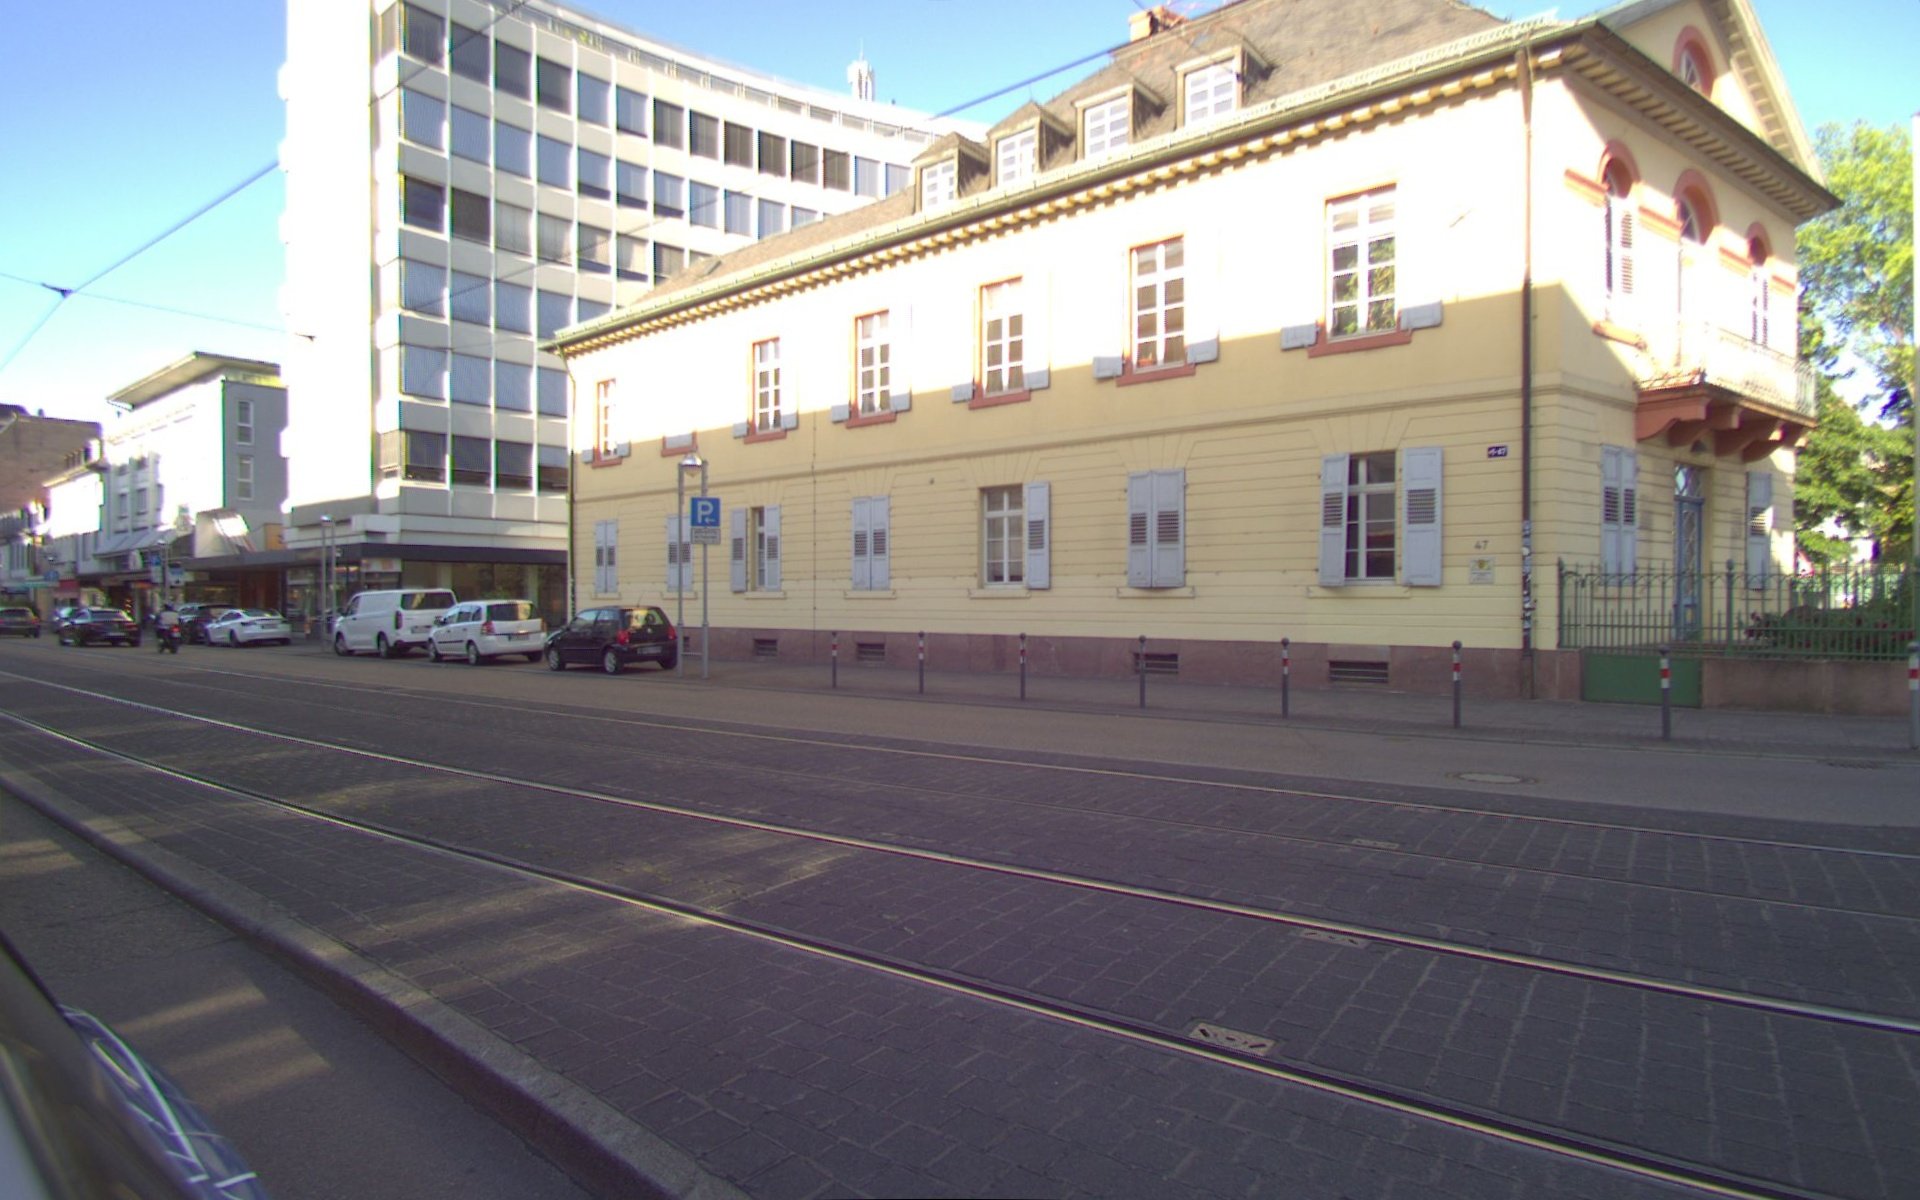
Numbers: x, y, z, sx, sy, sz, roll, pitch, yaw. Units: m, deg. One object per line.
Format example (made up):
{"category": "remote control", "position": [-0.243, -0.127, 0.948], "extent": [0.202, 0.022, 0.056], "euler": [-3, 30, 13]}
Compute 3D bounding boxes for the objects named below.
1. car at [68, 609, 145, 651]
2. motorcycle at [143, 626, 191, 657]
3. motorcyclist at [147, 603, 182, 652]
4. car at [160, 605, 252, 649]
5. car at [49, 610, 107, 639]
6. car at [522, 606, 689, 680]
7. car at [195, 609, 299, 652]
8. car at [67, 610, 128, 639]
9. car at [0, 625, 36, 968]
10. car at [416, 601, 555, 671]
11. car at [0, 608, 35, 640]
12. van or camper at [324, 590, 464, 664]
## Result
{"category": "car", "position": [-33.039, 1.137, 39.119], "extent": [4.670, 1.521, 1.757], "euler": [-1, -2, 43]}
{"category": "motorcycle", "position": [-25.856, 1.350, 32.983], "extent": [2.150, 0.933, 0.594], "euler": [0, 0, 34]}
{"category": "motorcyclist", "position": [-25.993, 0.879, 33.077], "extent": [0.882, 1.570, 0.647], "euler": [0, 0, 33]}
{"category": "car", "position": [-31.379, 1.068, 42.068], "extent": [4.275, 1.654, 1.908], "euler": [0, 2, 37]}
{"category": "car", "position": [-49.317, 1.345, 56.573], "extent": [3.829, 1.531, 1.764], "euler": [0, 0, 39]}
{"category": "car", "position": [-8.041, 0.891, 22.818], "extent": [3.958, 1.450, 1.759], "euler": [0, 2, 40]}
{"category": "car", "position": [-27.142, 1.110, 38.513], "extent": [4.284, 1.463, 1.909], "euler": [0, 2, 36]}
{"category": "car", "position": [-45.425, 1.276, 53.287], "extent": [3.592, 1.427, 1.765], "euler": [0, 0, 38]}
{"category": "car", "position": [-6.446, 0.828, 5.214], "extent": [4.770, 1.450, 1.845], "euler": [0, -1, 40]}
{"category": "car", "position": [-12.444, 0.869, 26.431], "extent": [4.175, 1.632, 1.758], "euler": [0, 2, 42]}
{"category": "car", "position": [-46.354, 1.165, 48.973], "extent": [3.855, 1.521, 1.759], "euler": [-1, -2, 39]}
{"category": "van or camper", "position": [-16.883, 0.738, 30.103], "extent": [4.791, 1.988, 1.936], "euler": [0, 2, 39]}
